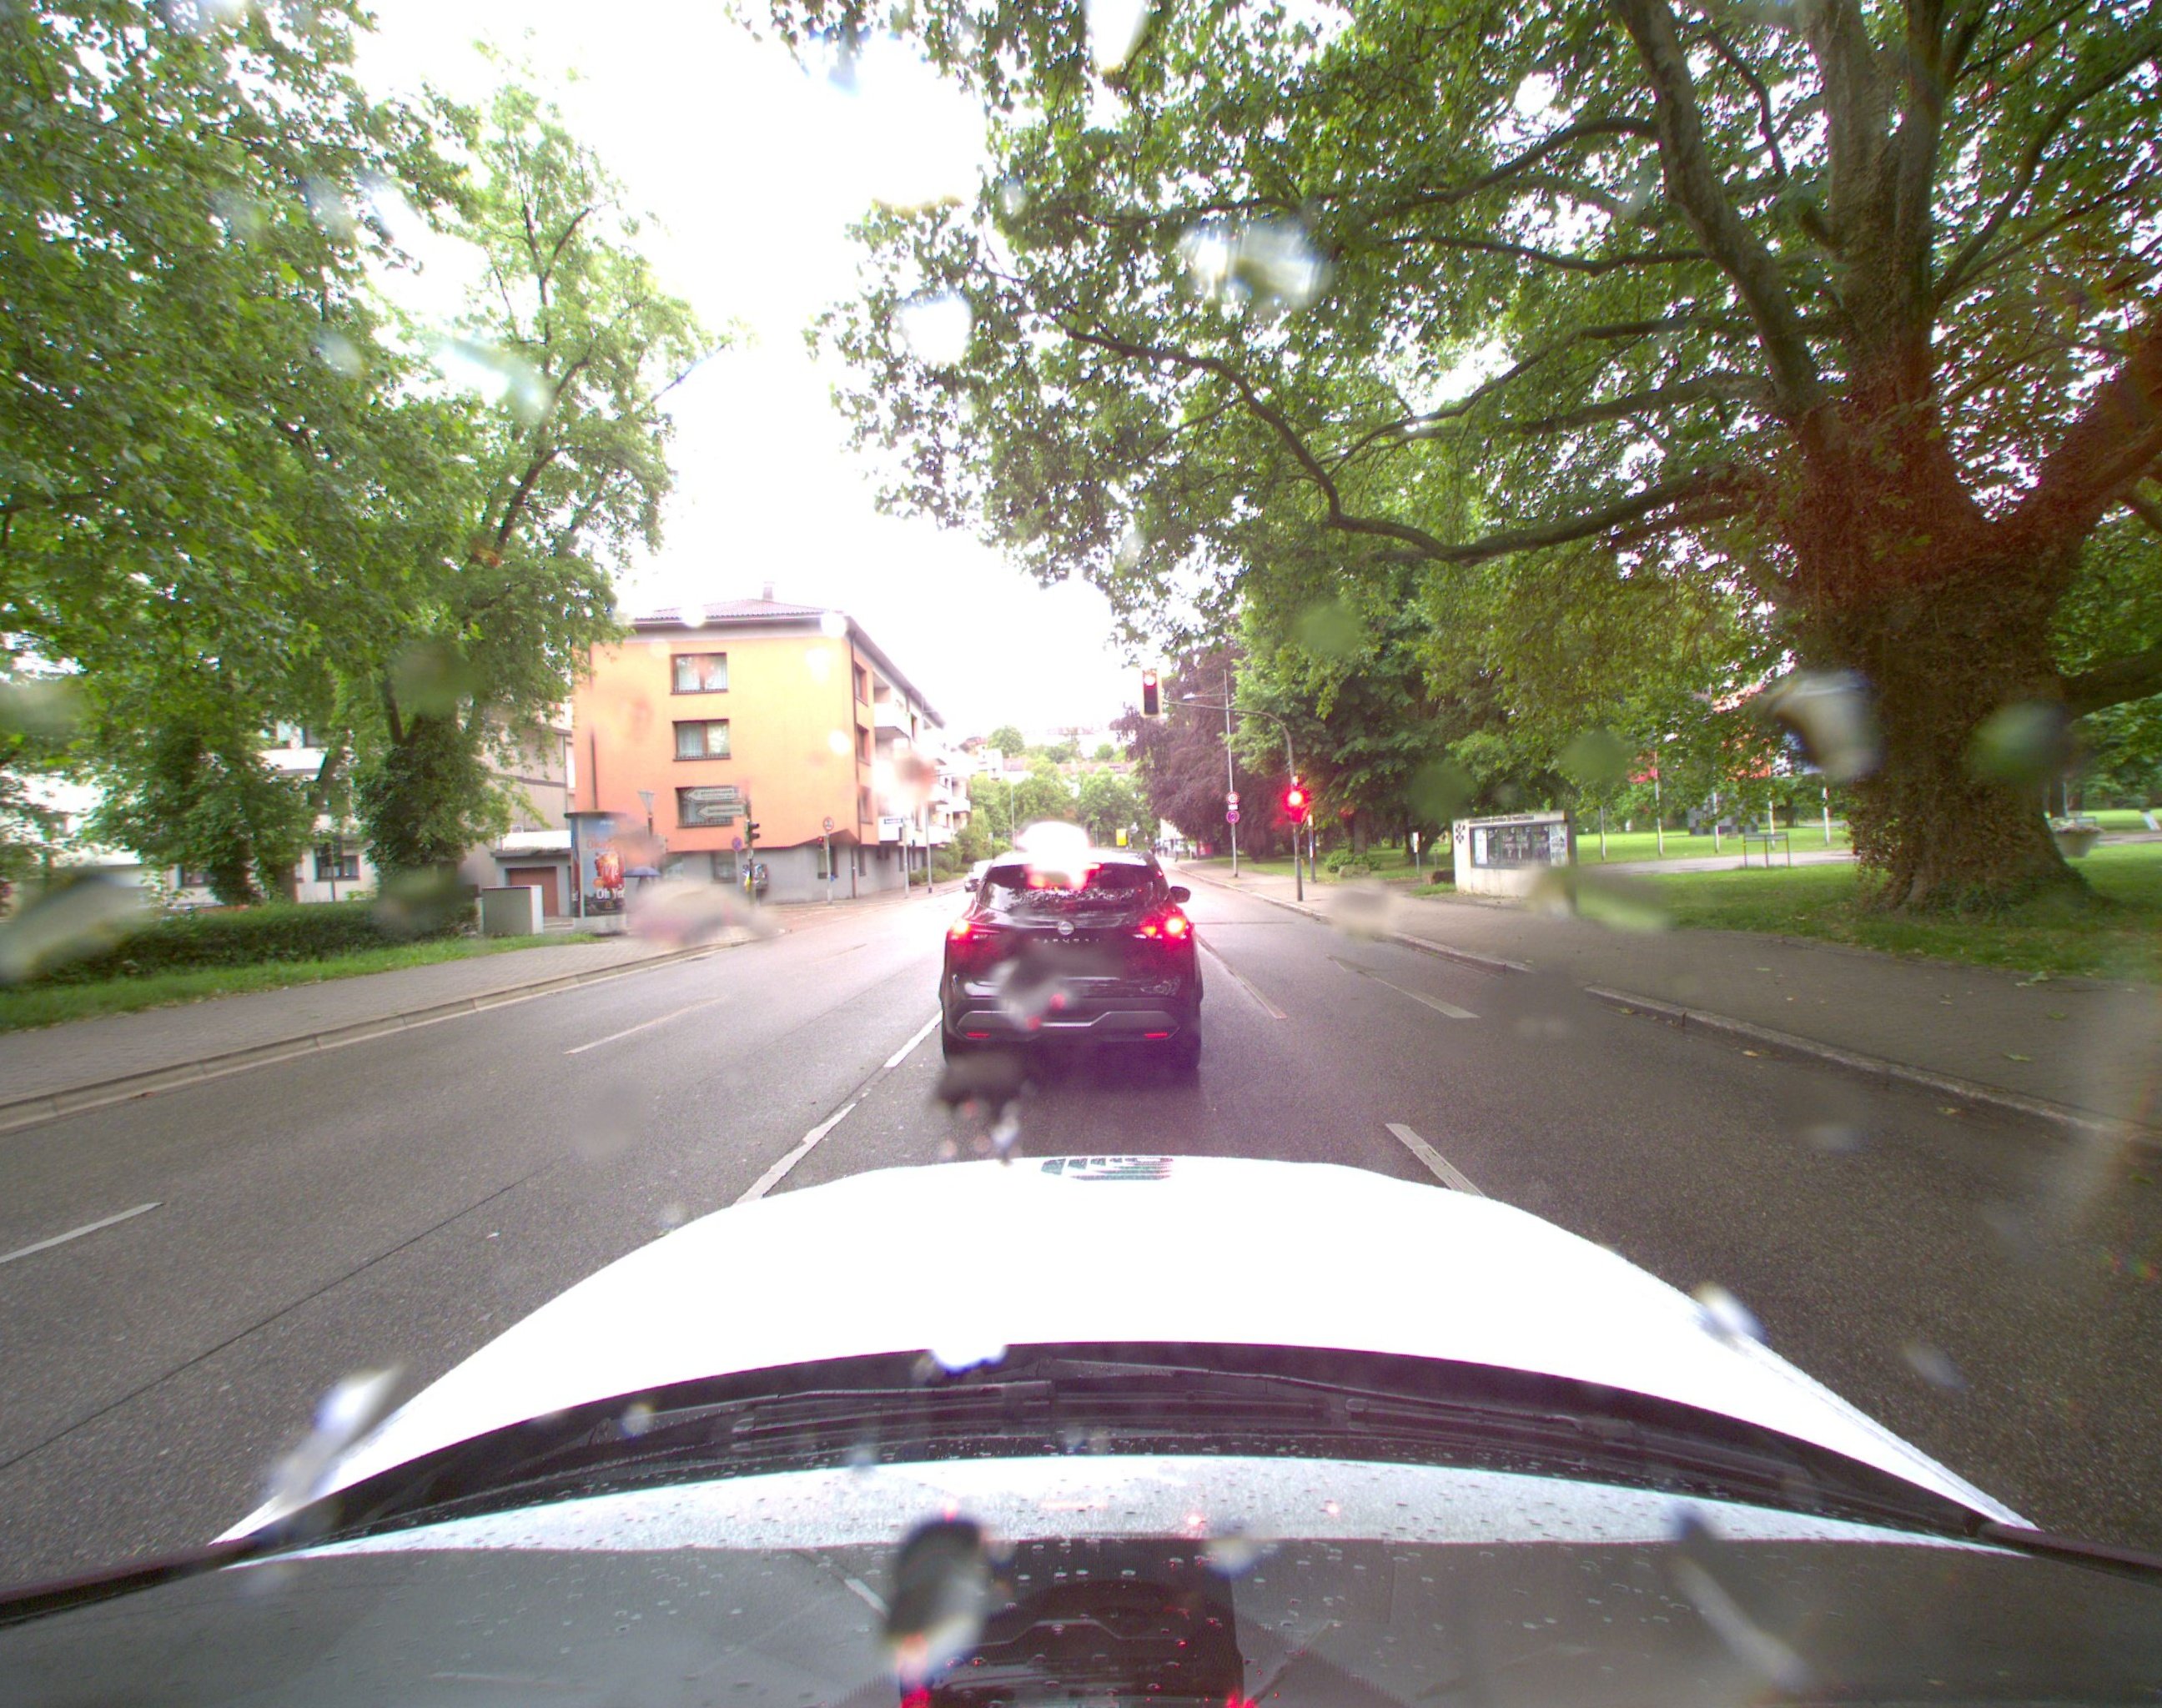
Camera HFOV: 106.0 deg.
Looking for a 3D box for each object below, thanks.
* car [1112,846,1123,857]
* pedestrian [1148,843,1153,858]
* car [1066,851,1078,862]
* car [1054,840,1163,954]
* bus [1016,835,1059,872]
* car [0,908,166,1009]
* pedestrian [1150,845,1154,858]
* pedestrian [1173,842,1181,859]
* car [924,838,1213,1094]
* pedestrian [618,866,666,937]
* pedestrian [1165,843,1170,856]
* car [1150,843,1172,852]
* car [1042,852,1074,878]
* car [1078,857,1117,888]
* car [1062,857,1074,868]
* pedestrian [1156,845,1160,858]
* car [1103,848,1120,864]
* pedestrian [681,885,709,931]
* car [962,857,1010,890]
[{"bbox_3d":[6.157,-0.415,136.493,1.743,1.633,3.636,-3,0,2],"label":"car"},{"bbox_3d":[9.833,-0.481,115.319,0.764,2.183,0.712,0,-1,5],"label":"pedestrian"},{"bbox_3d":[-1.479,0.419,140.109,1.743,1.633,3.636,-3,0,2],"label":"car"},{"bbox_3d":[0.548,0.671,14.767,1.615,1.709,3.774,-3,0,3],"label":"car"},{"bbox_3d":[-3.815,-0.020,74.180,2.756,2.974,11.786,-3,0,2],"label":"bus"},{"bbox_3d":[-18.001,1.730,13.807,3.182,1.524,1.507,0,-1,-1],"label":"car"},{"bbox_3d":[9.132,-0.315,104.464,0.542,1.651,0.490,0,-1,2],"label":"pedestrian"},{"bbox_3d":[10.459,-0.382,88.621,0.616,1.779,0.779,-3,0,1],"label":"pedestrian"},{"bbox_3d":[-0.015,0.717,7.097,1.799,1.590,4.001,0,-1,2],"label":"car"},{"bbox_3d":[-11.326,1.195,21.040,0.996,1.742,1.199,0,0,-25],"label":"pedestrian"},{"bbox_3d":[11.378,-0.588,107.064,0.616,1.779,0.551,-3,0,1],"label":"pedestrian"},{"bbox_3d":[16.156,-1.318,163.777,3.986,1.684,1.994,-3,0,-9],"label":"car"},{"bbox_3d":[-1.332,0.645,48.982,1.618,1.415,3.456,-3,0,2],"label":"car"},{"bbox_3d":[0.817,0.914,41.102,1.802,1.417,4.031,-2,0,1],"label":"car"},{"bbox_3d":[-2.093,1.336,130.477,1.671,1.469,4.217,-4,0,1],"label":"car"},{"bbox_3d":[9.745,-0.330,103.321,0.513,1.655,0.550,0,-1,1],"label":"pedestrian"},{"bbox_3d":[3.119,0.197,83.302,1.618,1.415,3.456,-3,0,2],"label":"car"},{"bbox_3d":[-10.628,1.472,22.444,0.687,1.175,0.820,0,0,-25],"label":"pedestrian"},{"bbox_3d":[-4.766,0.962,41.179,1.802,1.417,4.031,-4,0,1],"label":"car"}]
